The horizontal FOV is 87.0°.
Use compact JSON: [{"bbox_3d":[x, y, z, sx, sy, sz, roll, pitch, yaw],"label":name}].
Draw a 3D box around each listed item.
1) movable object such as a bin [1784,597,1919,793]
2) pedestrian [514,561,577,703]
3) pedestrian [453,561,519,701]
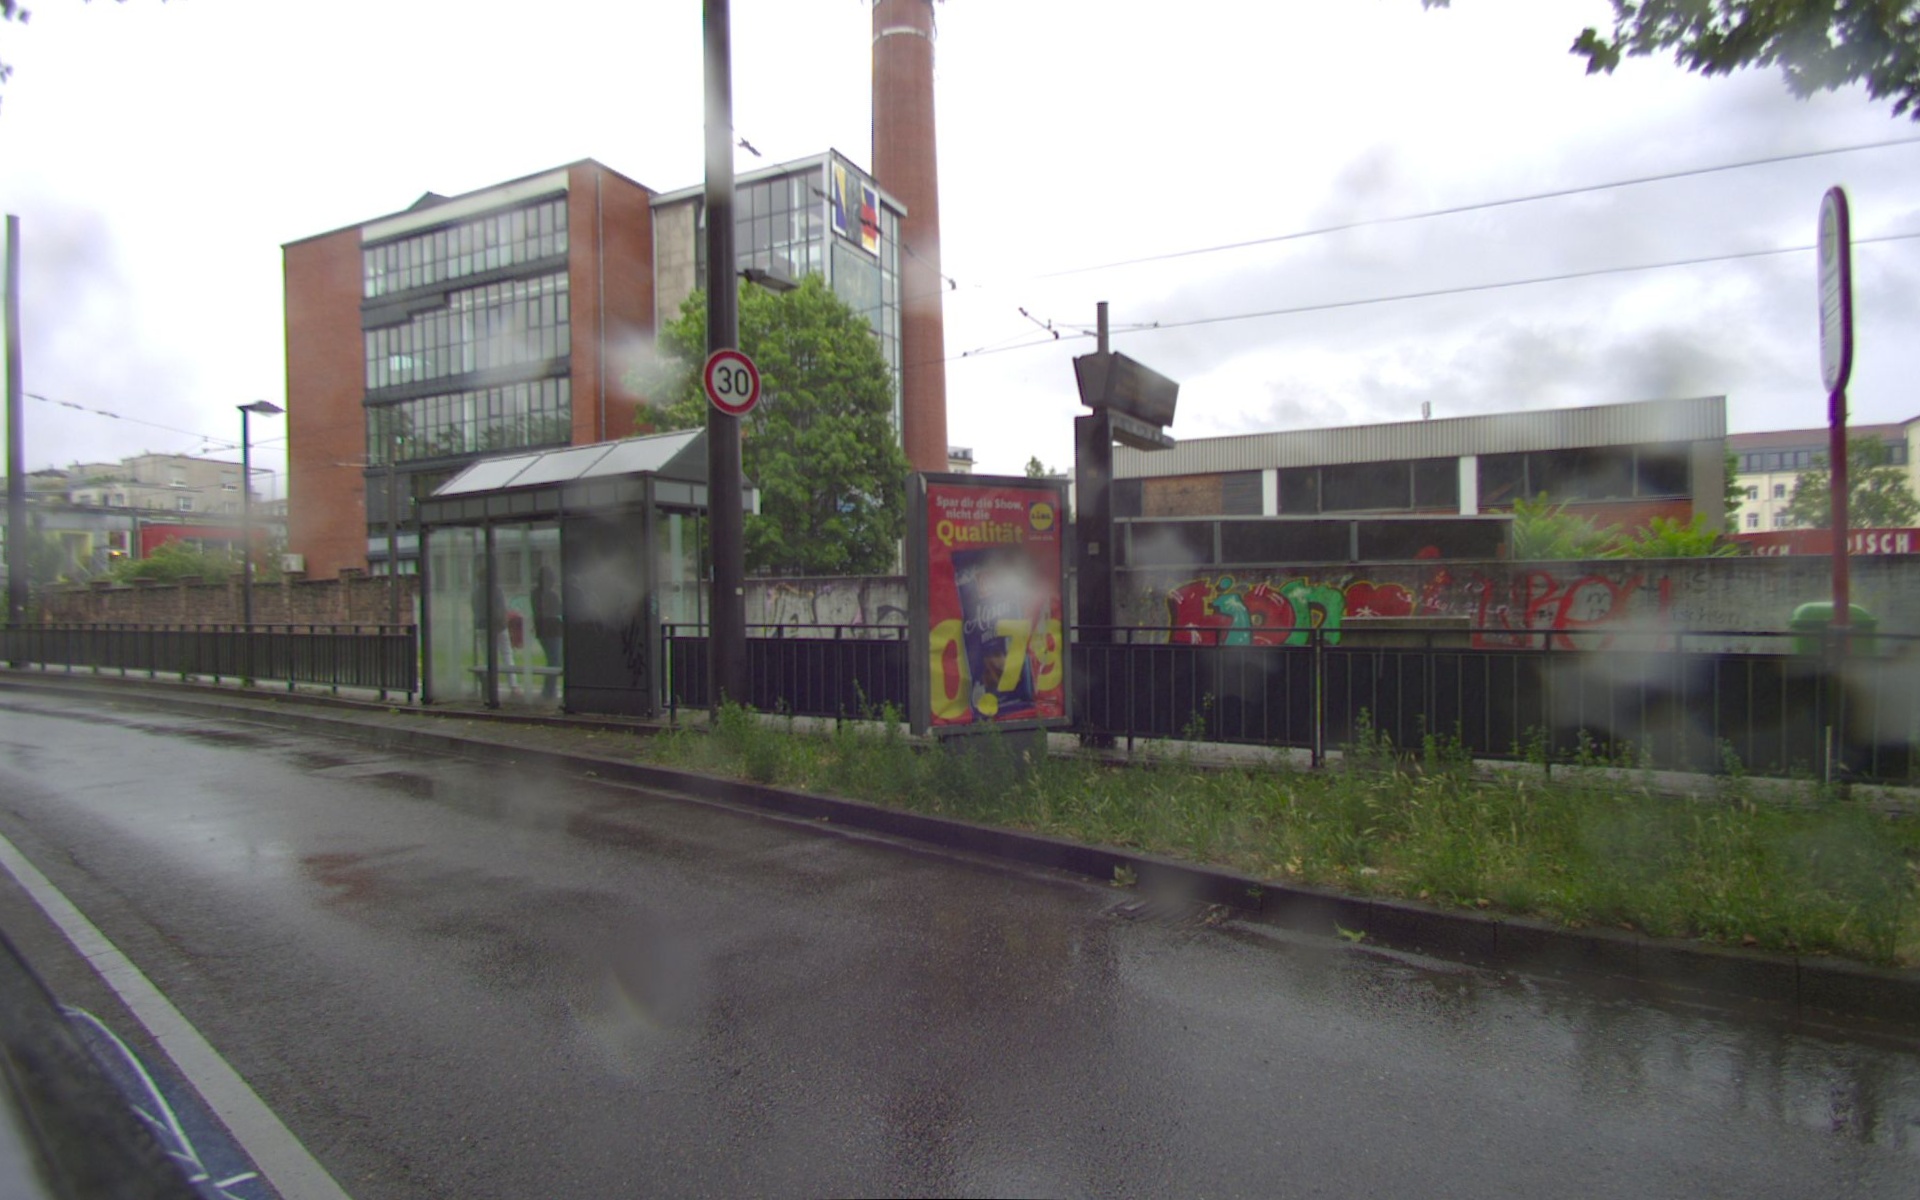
[{"bbox_3d":[5.267,0.537,5.957,0.528,1.098,0.414,-1,-2,25],"label":"movable object such as a bin"},{"bbox_3d":[-5.213,0.402,12.747,0.560,1.744,0.583,0,-2,-3],"label":"pedestrian"},{"bbox_3d":[-6.041,0.393,12.924,0.560,1.744,0.583,0,-2,-1],"label":"pedestrian"}]
